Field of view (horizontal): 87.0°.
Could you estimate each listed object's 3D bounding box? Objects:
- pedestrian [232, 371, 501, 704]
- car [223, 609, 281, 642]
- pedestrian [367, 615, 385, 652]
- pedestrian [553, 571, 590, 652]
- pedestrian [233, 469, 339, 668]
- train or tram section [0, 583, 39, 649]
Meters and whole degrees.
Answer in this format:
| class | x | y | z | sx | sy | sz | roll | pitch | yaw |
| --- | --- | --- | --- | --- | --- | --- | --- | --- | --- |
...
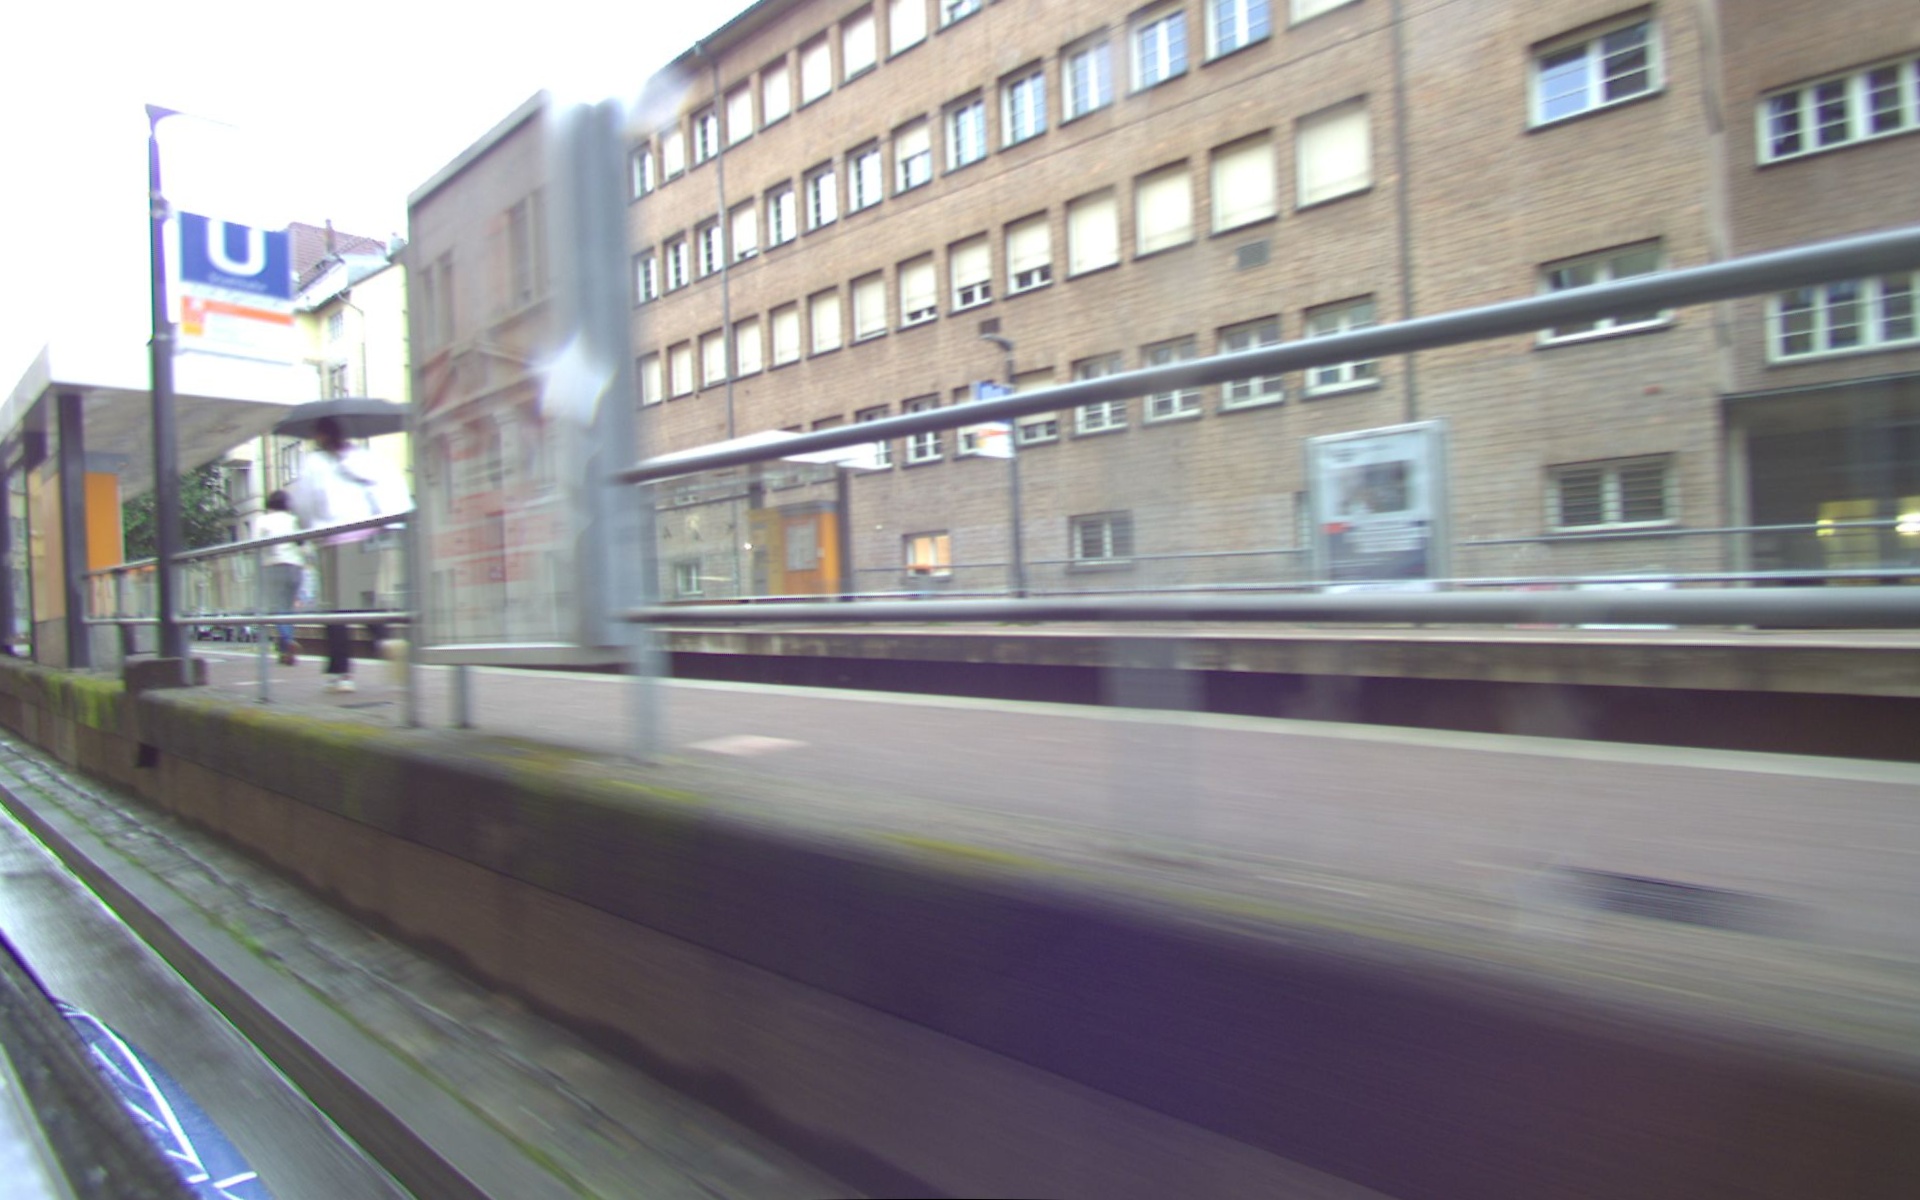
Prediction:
| class | x | y | z | sx | sy | sz | roll | pitch | yaw |
| --- | --- | --- | --- | --- | --- | --- | --- | --- | --- |
| pedestrian | -3.637 | -0.337 | 6.216 | 1.111 | 1.788 | 1.102 | -1 | 0 | 41 |
| car | -33.785 | 1.221 | 48.266 | 3.111 | 1.477 | 1.627 | -1 | 0 | 43 |
| pedestrian | -26.581 | 1.527 | 46.049 | 0.542 | 1.666 | 0.542 | -1 | -1 | 42 |
| pedestrian | -8.371 | 0.245 | 21.790 | 0.491 | 1.722 | 0.581 | -2 | -2 | 40 |
| pedestrian | -6.375 | -0.281 | 9.574 | 0.710 | 1.788 | 0.637 | -1 | 0 | 41 |
| train or tram section | -64.639 | 1.089 | 67.284 | 19.851 | 3.950 | 2.687 | -1 | 0 | 41 |
